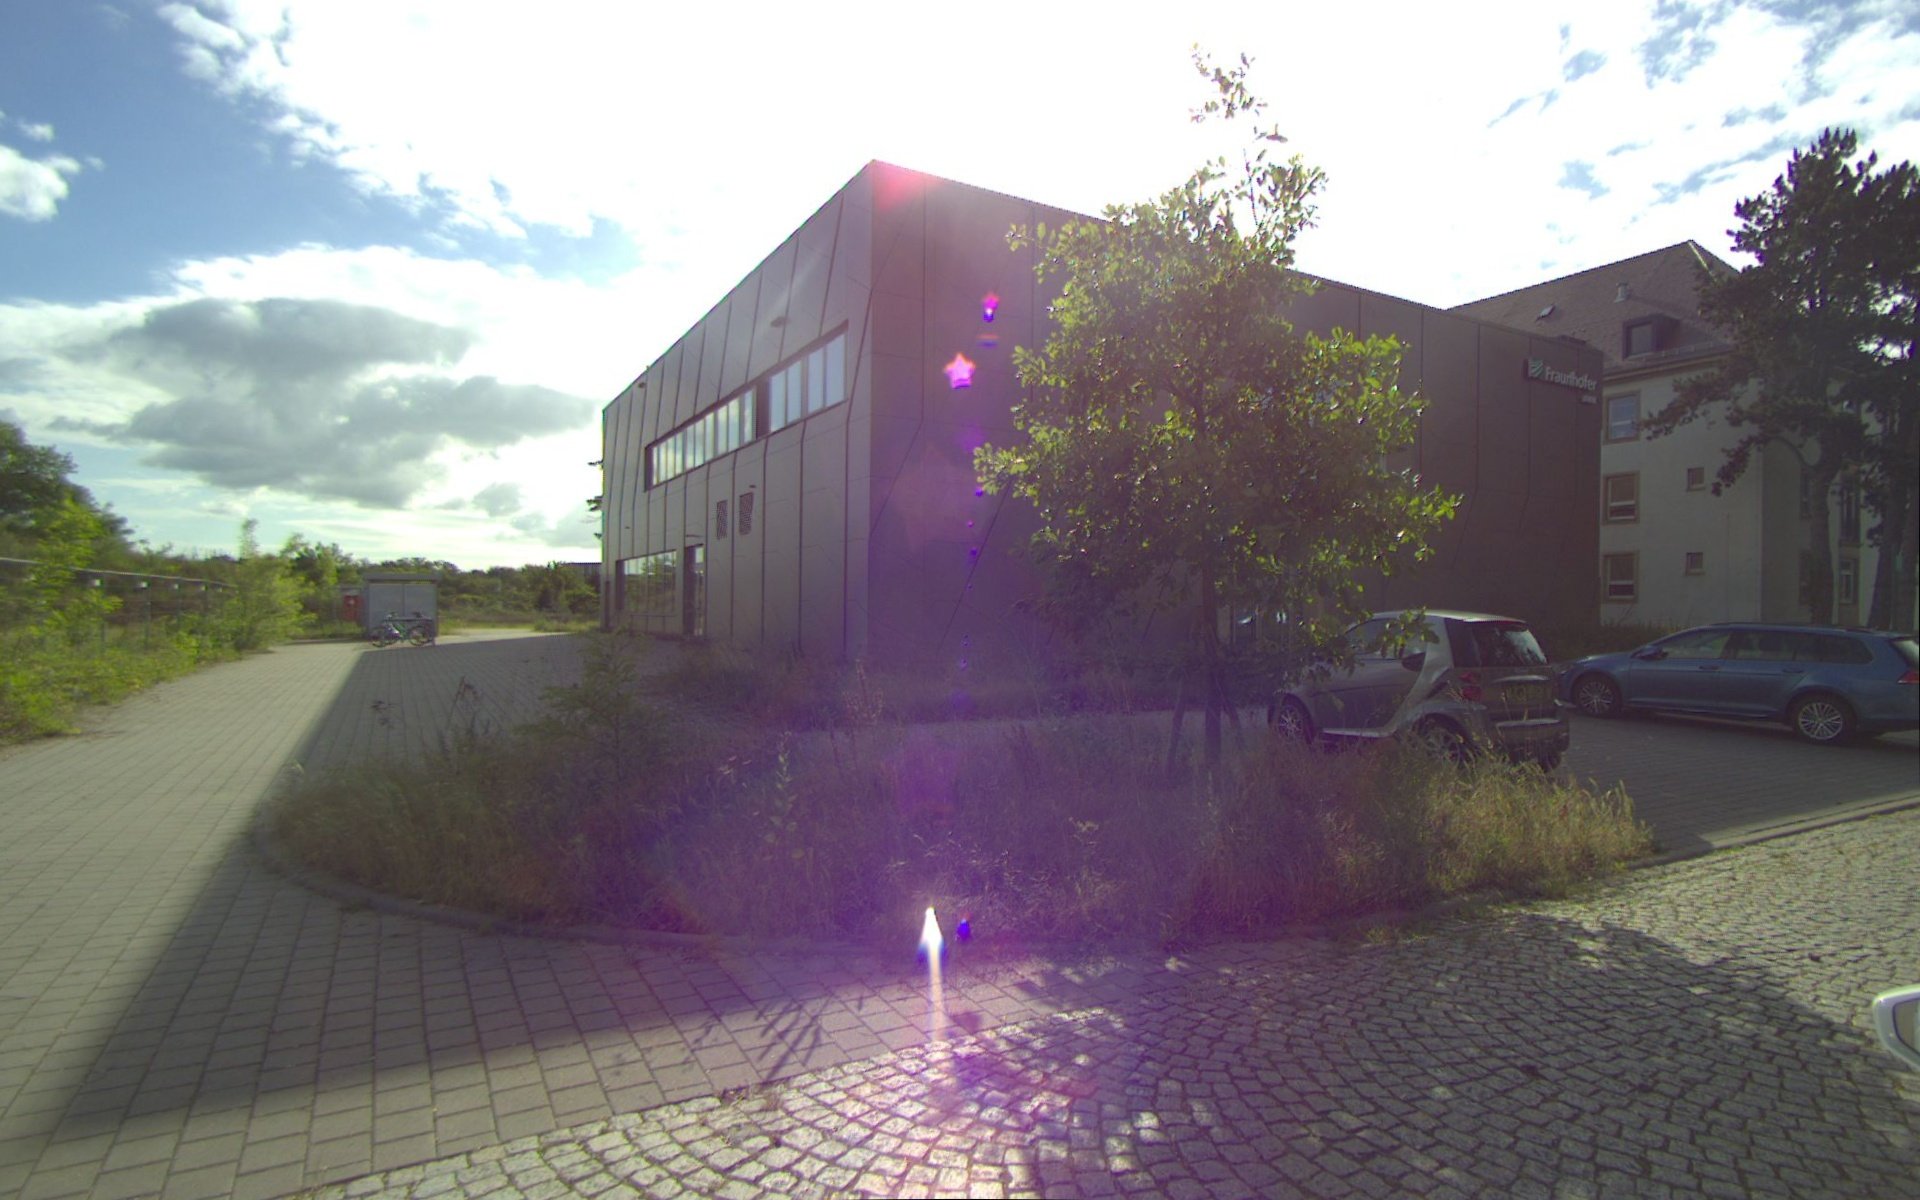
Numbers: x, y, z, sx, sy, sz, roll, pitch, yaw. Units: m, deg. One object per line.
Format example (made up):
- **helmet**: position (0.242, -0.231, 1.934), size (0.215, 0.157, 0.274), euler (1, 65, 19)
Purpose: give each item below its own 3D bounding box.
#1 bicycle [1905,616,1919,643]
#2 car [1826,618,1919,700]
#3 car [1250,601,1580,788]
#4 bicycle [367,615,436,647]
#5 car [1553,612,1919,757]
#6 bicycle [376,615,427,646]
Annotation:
- **bicycle**: position (54.469, 1.666, 56.827), size (2.524, 1.456, 0.822), euler (1, -1, -31)
- **car**: position (18.931, 1.162, 18.758), size (1.698, 1.484, 3.819), euler (1, 1, -28)
- **car**: position (4.538, 0.836, 10.300), size (1.501, 1.563, 2.685), euler (1, 1, -30)
- **bicycle**: position (-18.675, 1.038, 33.634), size (1.942, 0.982, 0.837), euler (-2, 1, -27)
- **car**: position (10.800, 1.010, 13.855), size (1.662, 1.484, 4.233), euler (-1, 2, -32)
- **bicycle**: position (-17.618, 0.946, 31.707), size (1.340, 0.912, 0.515), euler (-1, 1, -27)
